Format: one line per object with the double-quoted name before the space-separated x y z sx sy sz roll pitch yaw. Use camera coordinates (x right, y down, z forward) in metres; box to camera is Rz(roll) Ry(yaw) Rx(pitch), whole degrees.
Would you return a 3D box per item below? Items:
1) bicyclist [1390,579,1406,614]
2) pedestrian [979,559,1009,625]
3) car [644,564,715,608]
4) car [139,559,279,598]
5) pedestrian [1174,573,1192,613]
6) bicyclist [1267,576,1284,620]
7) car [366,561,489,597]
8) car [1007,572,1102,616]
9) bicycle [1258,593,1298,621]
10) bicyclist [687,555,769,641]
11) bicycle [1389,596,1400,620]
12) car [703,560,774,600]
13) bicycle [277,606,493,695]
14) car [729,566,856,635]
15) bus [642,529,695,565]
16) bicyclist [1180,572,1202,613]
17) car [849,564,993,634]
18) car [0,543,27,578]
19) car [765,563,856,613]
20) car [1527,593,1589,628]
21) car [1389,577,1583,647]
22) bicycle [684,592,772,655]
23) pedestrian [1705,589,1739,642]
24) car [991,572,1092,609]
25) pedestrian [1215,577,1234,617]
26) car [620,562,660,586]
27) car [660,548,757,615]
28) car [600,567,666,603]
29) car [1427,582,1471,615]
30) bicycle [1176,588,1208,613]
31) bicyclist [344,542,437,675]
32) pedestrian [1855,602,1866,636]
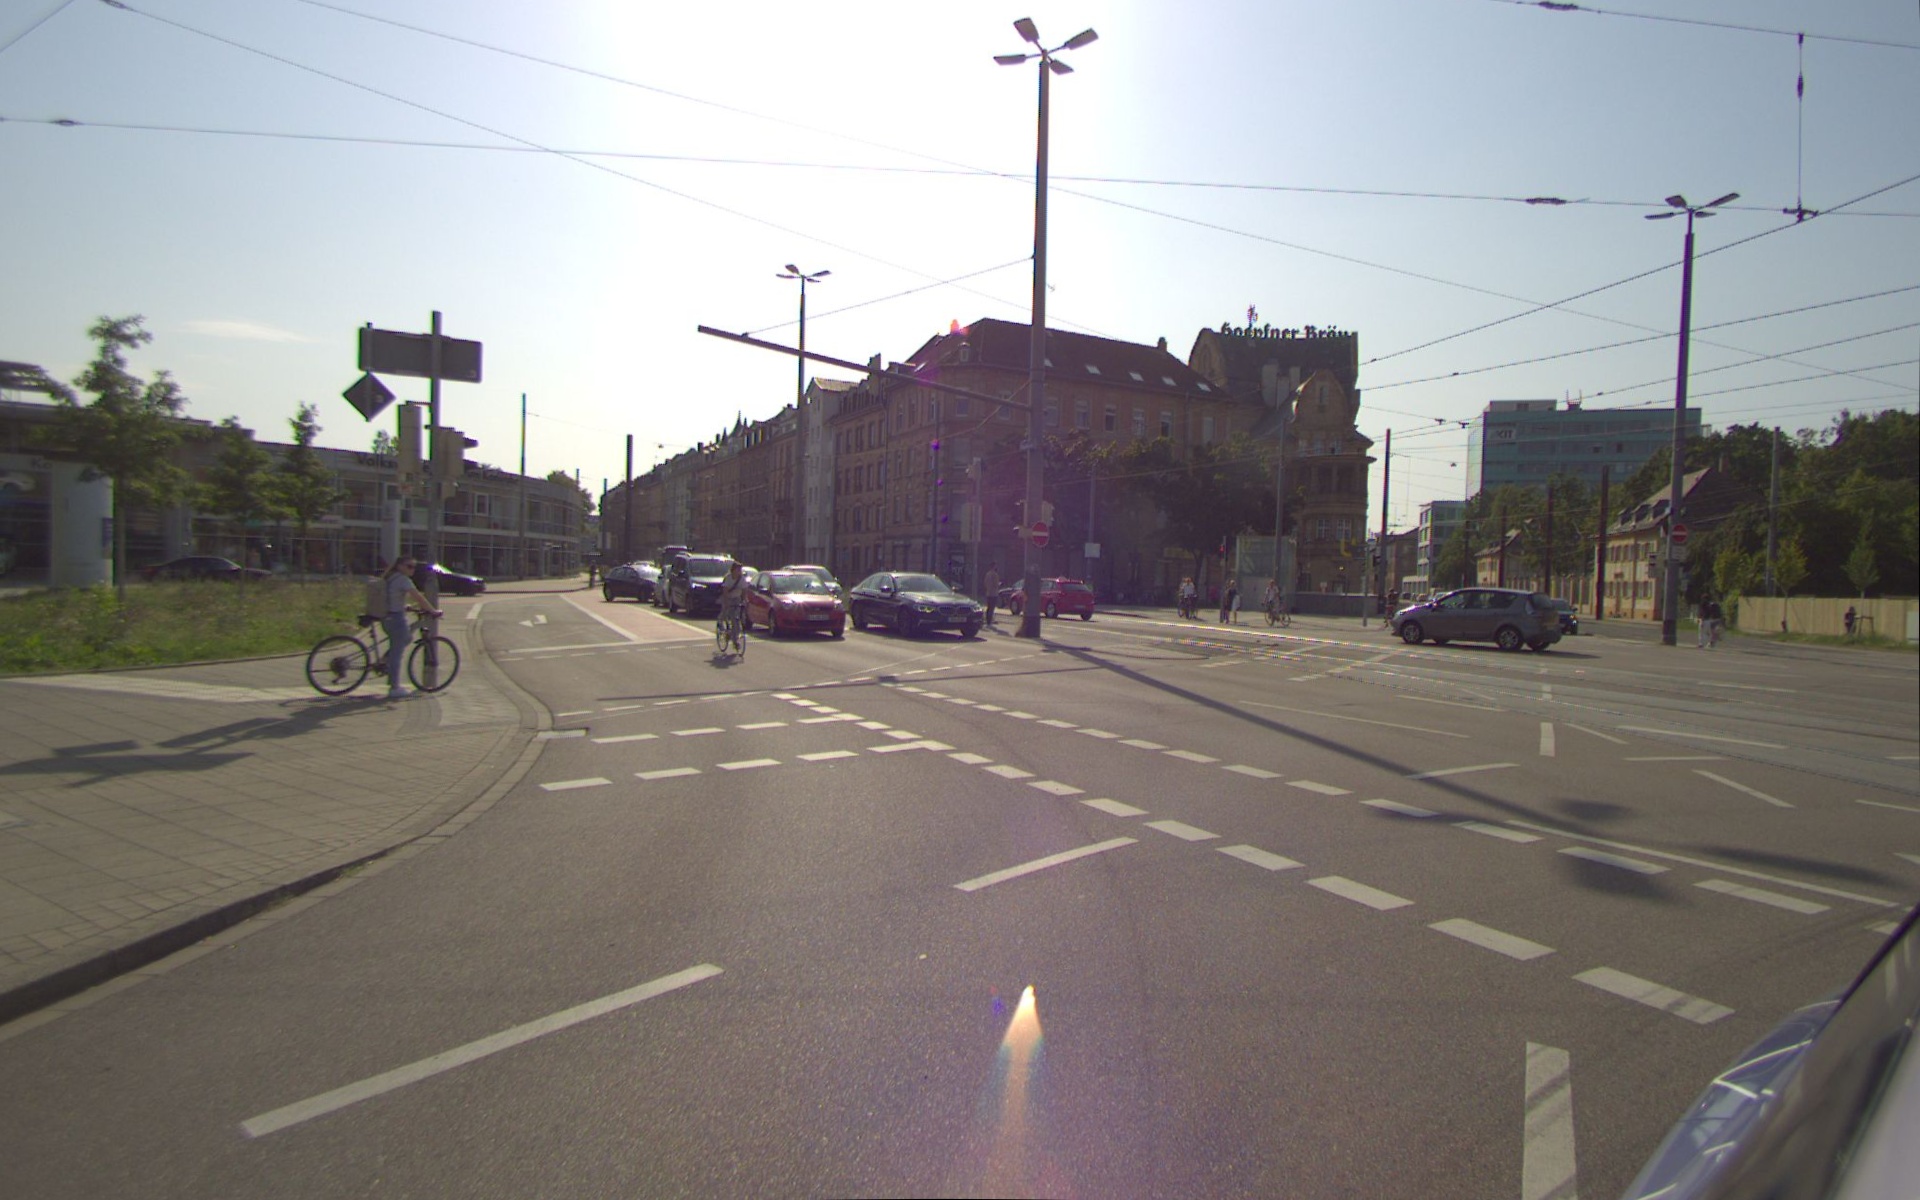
"bicyclist" 21.355 -0.194 49.360 0.656 1.657 0.910 2 1 25
"pedestrian" 0.905 -0.209 27.097 0.515 1.752 0.598 1 1 -32
"car" -10.129 -0.527 36.392 1.766 1.459 3.638 1 2 -27
"car" -29.570 -0.831 40.027 4.312 1.387 2.001 1 2 -33
"pedestrian" 9.881 -0.306 44.856 0.495 1.748 0.626 2 0 -16
"bicyclist" 12.608 -0.088 40.489 0.579 1.752 0.592 2 0 17
"car" -22.830 -0.891 43.561 4.305 1.387 2.005 2 1 -16
"car" 3.447 -0.239 37.441 1.642 1.466 3.787 2 1 -28
"bicycle" 12.706 0.265 40.452 1.507 1.037 0.431 2 1 19
"bicyclist" -4.207 -0.051 18.354 1.069 1.493 0.970 1 1 -44
"bicycle" 21.228 0.373 49.472 0.397 1.103 1.912 2 1 25
"car" -8.901 -0.830 40.442 1.766 1.433 4.007 1 2 -27
"bicycle" -6.479 0.585 11.476 2.036 0.905 0.568 4 2 -36
"car" -4.007 -0.043 23.707 1.766 1.433 4.007 1 2 -27
"bus" -26.904 -4.797 92.907 2.838 3.021 11.521 1 2 -25
"bicyclist" 9.875 -0.328 43.306 0.575 1.738 0.648 2 0 -32
"car" -1.048 -0.075 24.348 1.766 1.469 4.358 1 2 -27
"car" -42.237 -1.741 43.851 1.961 1.480 4.327 1 1 -33
"car" -4.769 -0.406 31.955 1.766 1.453 3.563 1 2 -27
"car" 25.187 0.401 42.716 1.675 1.343 3.969 2 2 23
"car" 14.169 0.286 27.485 1.781 1.644 4.288 2 1 -38
"bicycle" -4.235 0.400 18.367 0.520 1.001 2.193 0 3 -43
"pedestrian" 25.177 0.495 33.439 0.790 1.708 0.651 3 1 41
"car" 3.627 -0.454 45.821 1.879 1.493 4.741 1 1 -36
"pedestrian" 11.298 -0.137 43.203 0.495 1.661 0.524 2 0 -30
"car" -20.575 -1.697 64.966 1.766 1.433 4.007 1 2 -27
"car" -7.717 -0.596 30.675 1.766 1.850 4.782 1 2 -27
"car" -13.156 -0.623 40.637 1.767 1.298 3.636 1 2 -30
"car" 27.162 -0.113 56.306 1.906 1.656 3.969 2 2 23
"bicycle" 9.928 0.029 43.296 1.497 1.037 0.434 1 1 -34
"bicyclist" -6.470 0.088 11.490 0.804 1.444 0.731 2 0 -36
"pedestrian" 42.250 0.895 47.483 0.234 1.549 0.324 2 1 19
